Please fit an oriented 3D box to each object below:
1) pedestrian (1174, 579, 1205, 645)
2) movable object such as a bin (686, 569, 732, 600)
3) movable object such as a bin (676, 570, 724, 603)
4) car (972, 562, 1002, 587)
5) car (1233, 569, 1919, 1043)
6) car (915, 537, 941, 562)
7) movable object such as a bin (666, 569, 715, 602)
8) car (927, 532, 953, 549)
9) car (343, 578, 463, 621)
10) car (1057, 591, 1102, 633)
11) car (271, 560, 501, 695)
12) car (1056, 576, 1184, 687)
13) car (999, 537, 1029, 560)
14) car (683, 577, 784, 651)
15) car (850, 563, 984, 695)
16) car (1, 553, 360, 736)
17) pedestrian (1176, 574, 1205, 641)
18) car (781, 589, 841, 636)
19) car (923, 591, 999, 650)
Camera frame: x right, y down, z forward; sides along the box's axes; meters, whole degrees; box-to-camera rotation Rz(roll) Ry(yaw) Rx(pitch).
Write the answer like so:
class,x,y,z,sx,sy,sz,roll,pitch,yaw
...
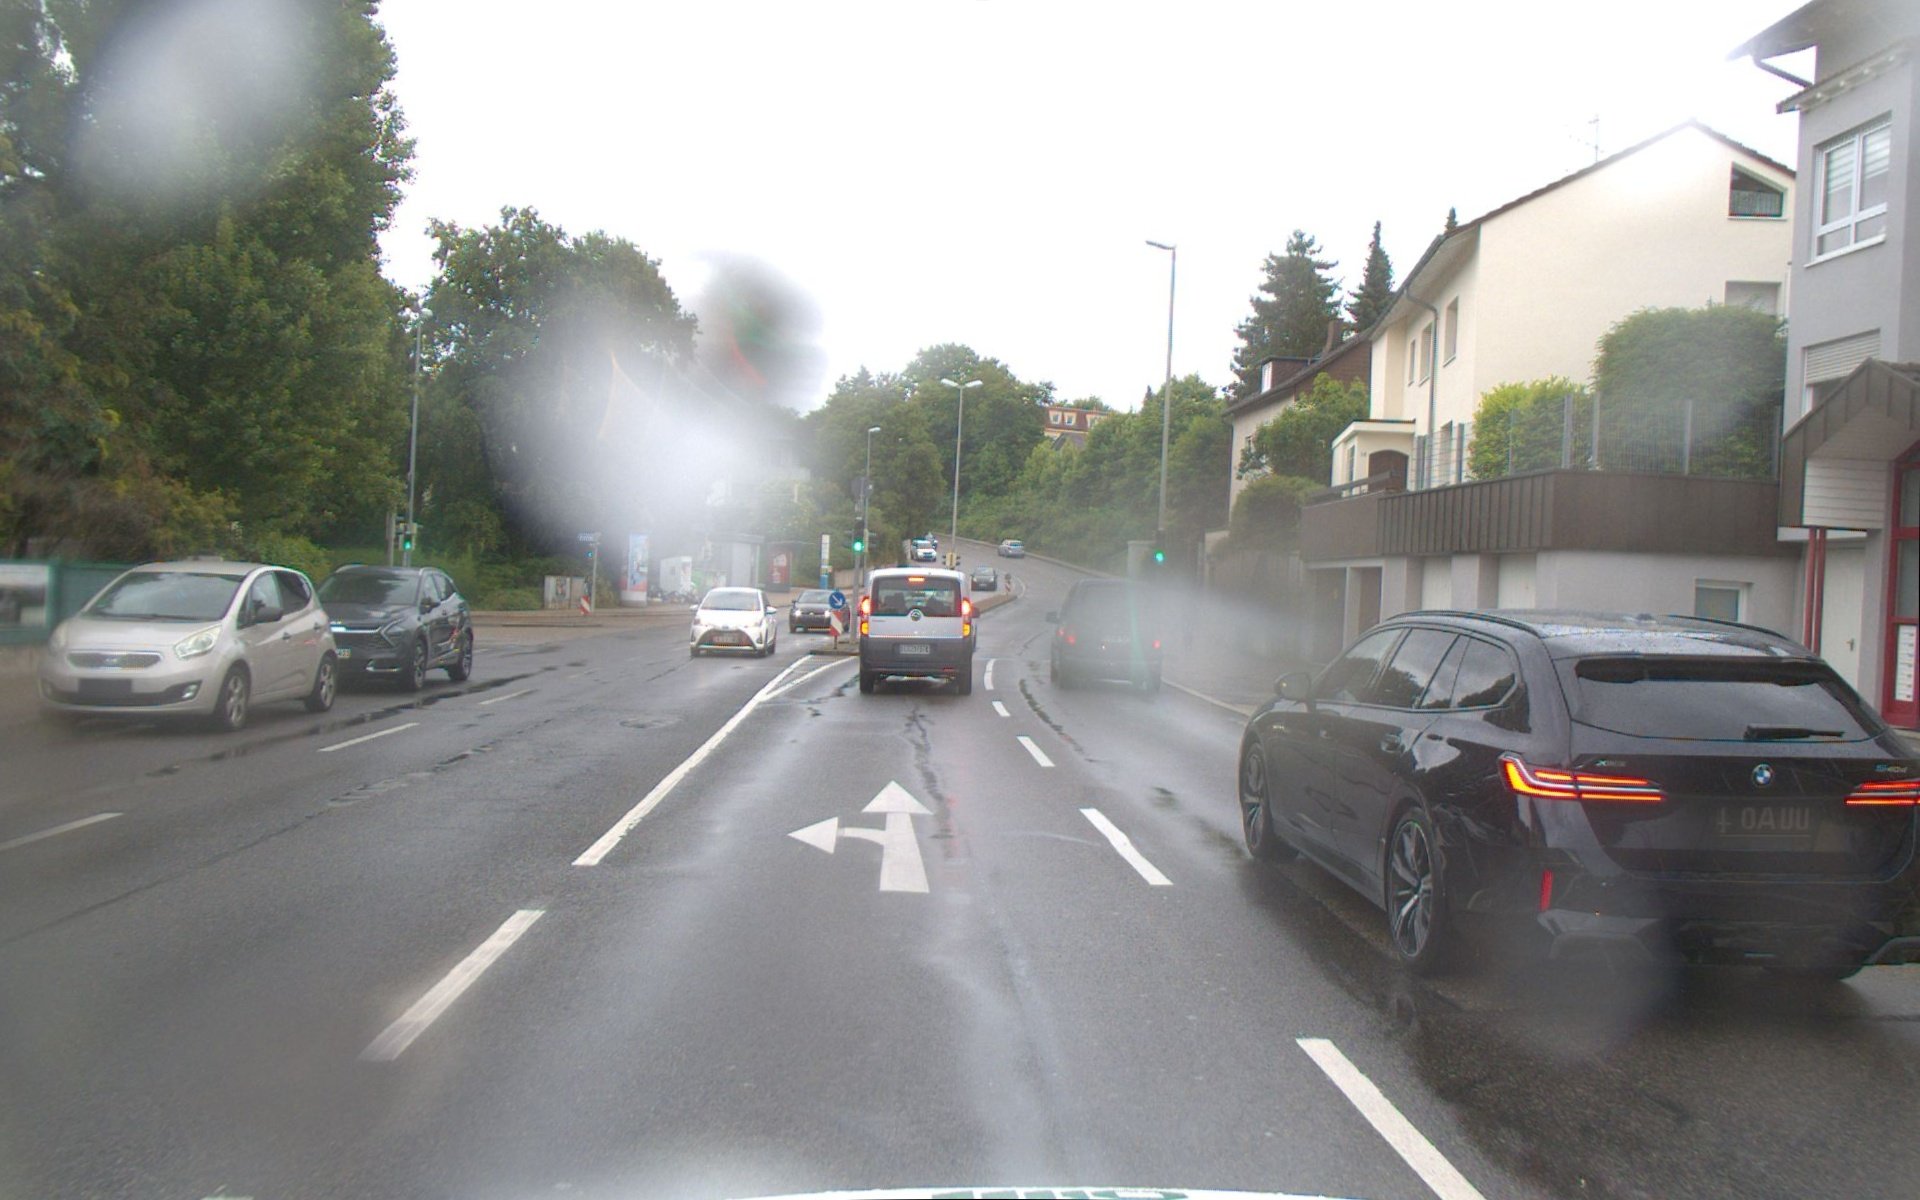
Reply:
class,x,y,z,sx,sy,sz,roll,pitch,yaw
pedestrian,6.395,0.328,46.066,0.777,1.811,1.012,0,0,4
movable object such as a bin,-13.031,-0.799,85.846,2.014,1.541,1.345,1,2,9
movable object such as a bin,-13.263,-0.722,84.400,2.014,1.596,1.583,1,2,9
car,1.812,-1.703,111.993,1.952,1.601,4.000,1,0,1
car,2.838,0.764,8.156,1.954,1.614,4.660,2,-1,-3
car,-2.842,-4.494,147.207,1.955,2.049,3.994,1,0,-7
movable object such as a bin,-13.489,-0.739,82.814,2.014,1.596,1.583,1,2,9
car,-1.942,-5.735,160.214,1.808,1.579,4.373,1,1,-11
car,-20.670,-0.009,61.387,3.946,1.557,1.819,1,0,-31
car,5.440,0.515,75.869,1.813,1.690,4.002,2,2,2
car,-8.001,0.368,23.530,1.768,1.698,4.596,1,0,-2
car,2.730,0.508,28.974,1.952,1.779,4.001,1,0,2
car,5.009,-4.783,154.851,1.958,2.049,3.989,1,0,-11
car,-5.061,0.295,37.375,1.795,1.557,3.999,1,0,-1
car,-0.591,0.409,26.554,1.911,1.903,4.747,1,0,1
car,-7.713,0.410,16.849,1.768,1.596,4.141,1,0,-2
pedestrian,7.148,0.226,51.295,0.780,2.049,0.735,2,0,4
car,-5.135,0.431,57.365,1.677,1.529,4.000,1,0,0
car,0.062,0.534,45.736,1.796,1.513,4.061,1,0,4
